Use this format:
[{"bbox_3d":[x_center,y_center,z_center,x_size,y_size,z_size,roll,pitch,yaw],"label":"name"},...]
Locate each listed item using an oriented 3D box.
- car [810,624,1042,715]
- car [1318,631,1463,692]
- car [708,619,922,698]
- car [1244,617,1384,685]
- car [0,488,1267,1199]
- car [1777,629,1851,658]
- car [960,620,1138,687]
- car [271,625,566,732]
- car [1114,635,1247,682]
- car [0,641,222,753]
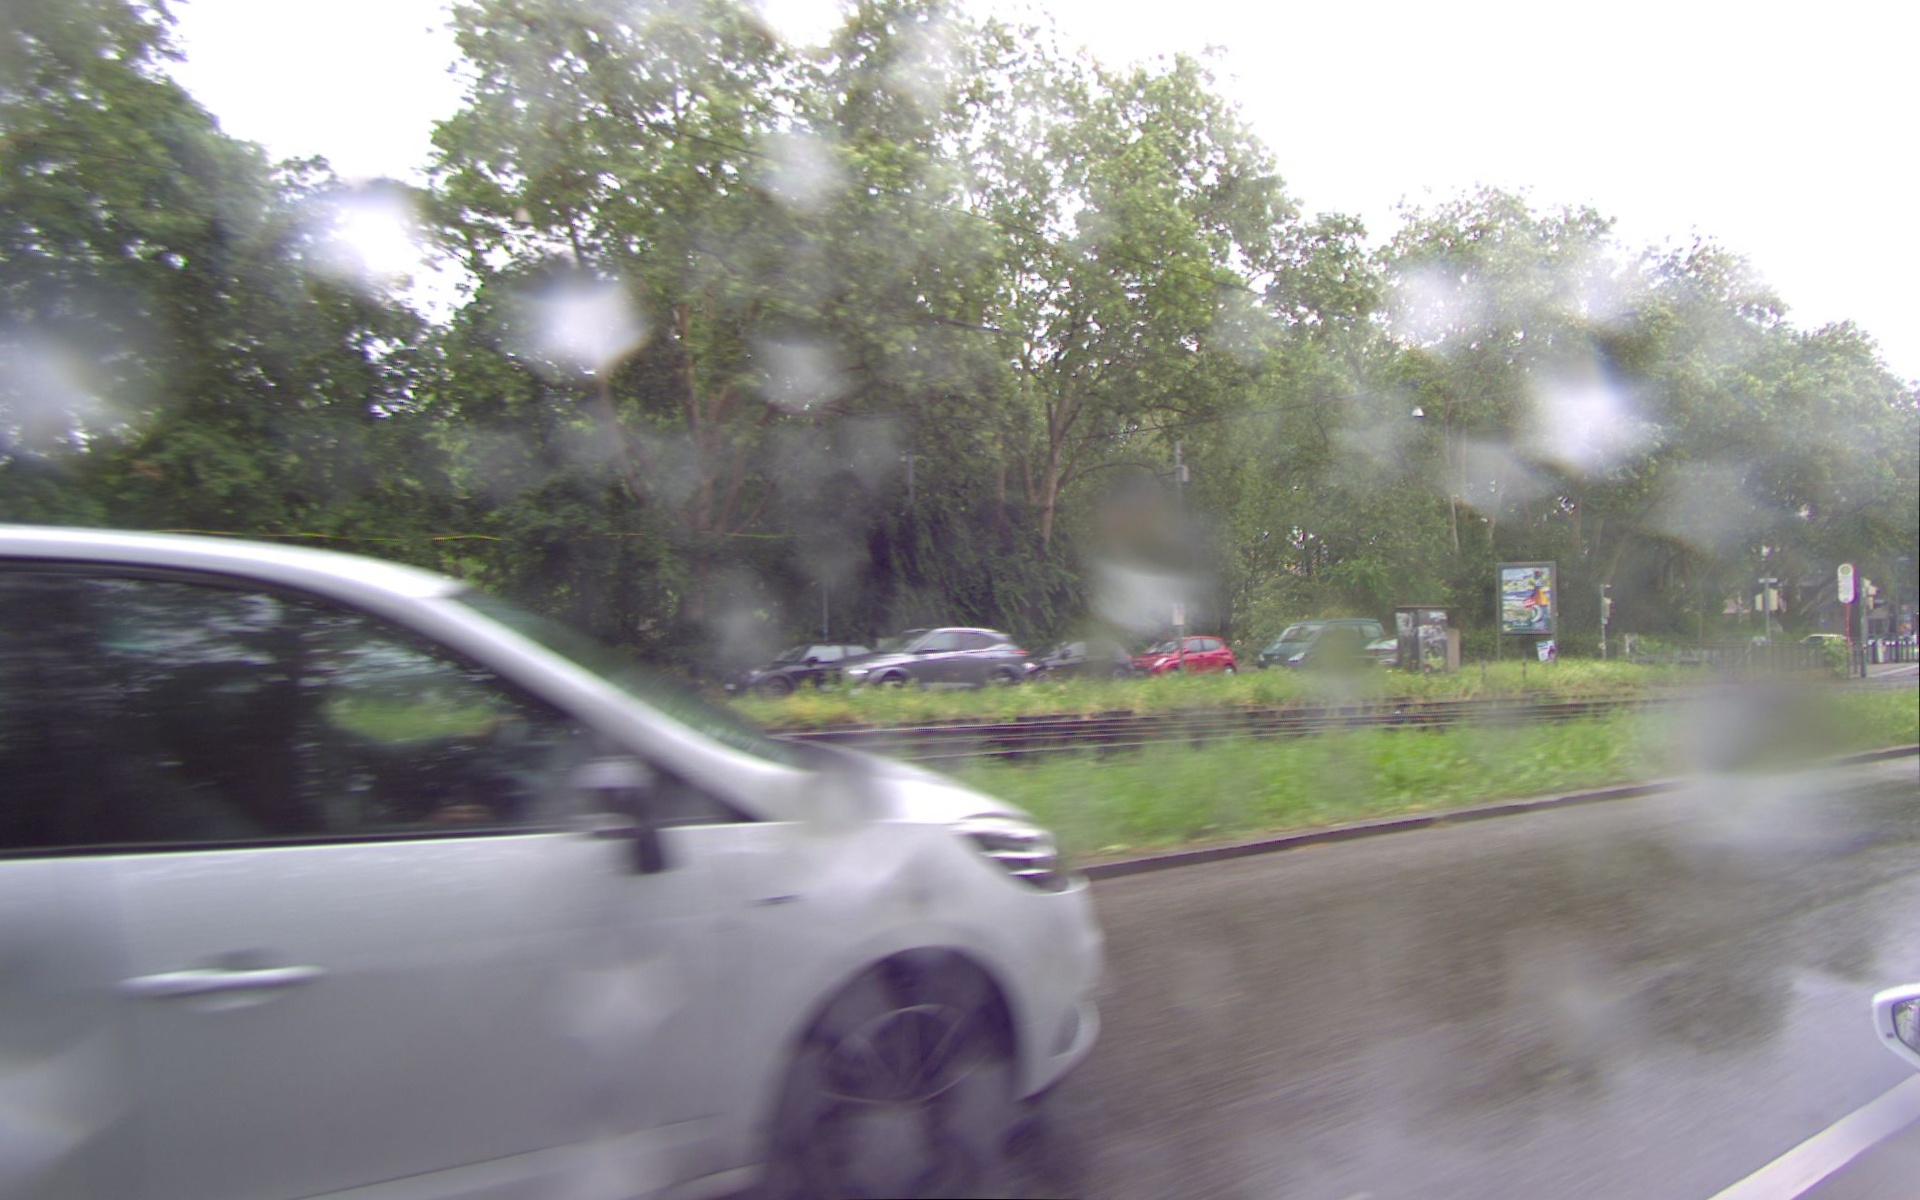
[{"bbox_3d":[-0.639,1.370,20.447,4.349,1.679,2.002,2,-3,-34],"label":"car"},{"bbox_3d":[12.789,1.793,29.783,4.233,1.679,2.019,2,-3,-34],"label":"car"},{"bbox_3d":[-3.334,1.340,23.434,4.562,1.679,2.020,2,-3,-34],"label":"car"},{"bbox_3d":[11.790,1.688,33.325,4.757,2.120,2.018,2,-3,-35],"label":"car"},{"bbox_3d":[-1.440,0.672,2.557,4.211,1.645,1.856,2,-1,-29],"label":"car"},{"bbox_3d":[46.527,2.359,54.704,3.954,1.537,1.925,1,-2,-31],"label":"car"},{"bbox_3d":[2.450,1.435,27.237,4.562,1.679,2.020,2,-3,-34],"label":"car"},{"bbox_3d":[-10.052,1.403,18.847,4.645,1.774,2.020,2,-3,-34],"label":"car"},{"bbox_3d":[6.652,1.729,30.138,3.947,1.334,1.724,2,-3,-35],"label":"car"},{"bbox_3d":[-14.270,1.502,16.105,3.773,1.669,1.751,2,-3,-34],"label":"car"}]
